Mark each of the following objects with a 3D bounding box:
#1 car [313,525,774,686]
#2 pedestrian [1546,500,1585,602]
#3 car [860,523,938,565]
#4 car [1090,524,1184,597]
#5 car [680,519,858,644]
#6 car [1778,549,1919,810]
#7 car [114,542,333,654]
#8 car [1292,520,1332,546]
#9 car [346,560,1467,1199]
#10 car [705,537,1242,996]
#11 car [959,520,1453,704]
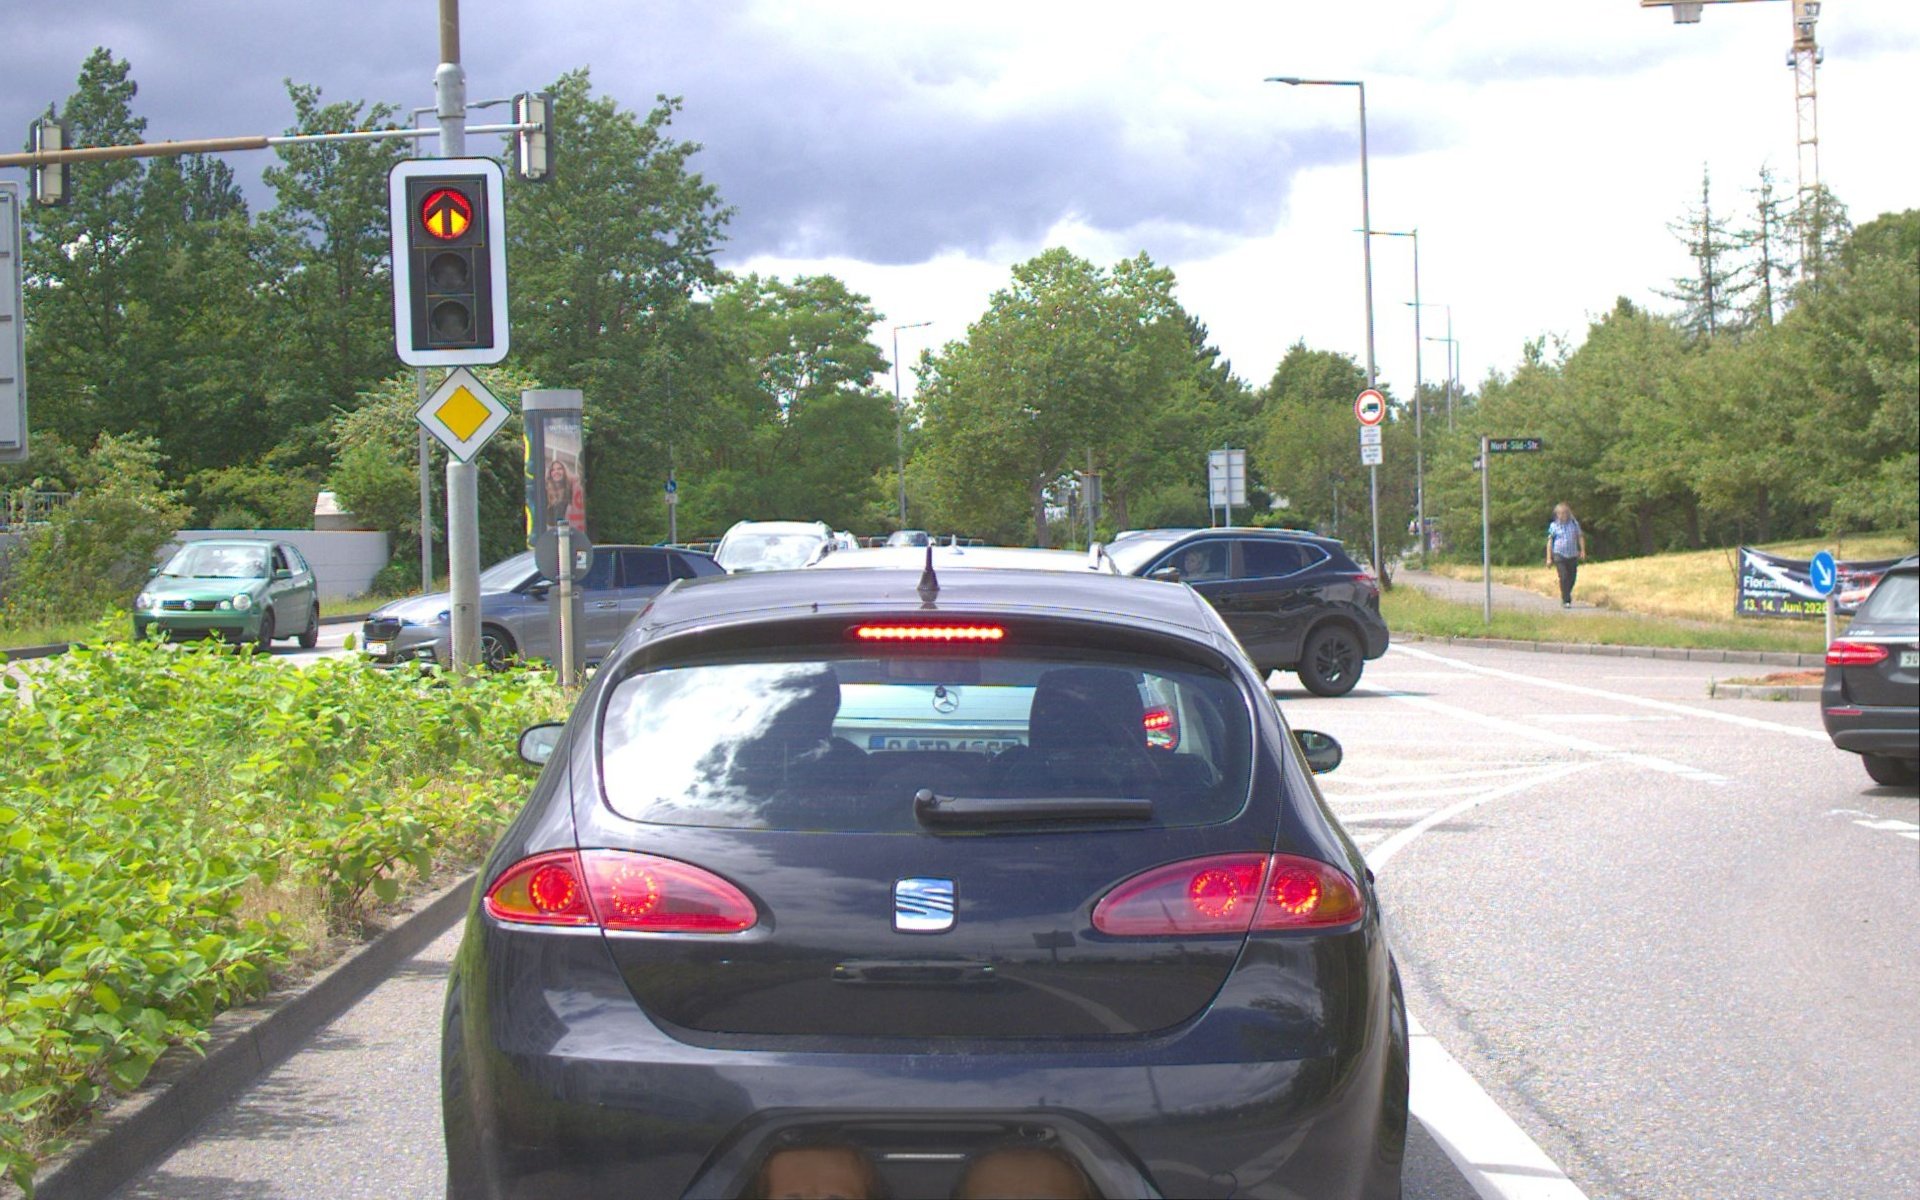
[{"bbox_3d":[-4.323,0.025,35.798,4.304,1.520,2.000,-2,1,-30],"label":"car"},{"bbox_3d":[10.238,-0.834,58.150,0.559,1.720,0.588,0,1,0],"label":"pedestrian"},{"bbox_3d":[-2.008,-1.873,113.996,1.994,1.347,3.999,0,1,8],"label":"car"},{"bbox_3d":[3.873,-0.891,74.960,1.994,1.525,4.000,0,1,3],"label":"car"},{"bbox_3d":[-2.534,-0.285,46.508,1.994,1.590,4.000,0,1,3],"label":"car"},{"bbox_3d":[7.143,0.372,21.132,1.877,1.436,5.187,0,2,41],"label":"car"},{"bbox_3d":[-9.412,-0.054,44.223,1.993,1.347,4.000,0,1,-1],"label":"car"},{"bbox_3d":[18.672,-3.547,182.401,1.994,1.347,3.999,0,1,8],"label":"car"},{"bbox_3d":[-0.108,0.661,7.240,1.773,1.447,3.582,0,1,-1],"label":"car"},{"bbox_3d":[-0.036,0.526,13.365,1.773,1.486,3.583,-2,1,-3],"label":"car"},{"bbox_3d":[2.373,0.080,33.148,4.303,1.610,2.000,-1,1,-26],"label":"car"}]
